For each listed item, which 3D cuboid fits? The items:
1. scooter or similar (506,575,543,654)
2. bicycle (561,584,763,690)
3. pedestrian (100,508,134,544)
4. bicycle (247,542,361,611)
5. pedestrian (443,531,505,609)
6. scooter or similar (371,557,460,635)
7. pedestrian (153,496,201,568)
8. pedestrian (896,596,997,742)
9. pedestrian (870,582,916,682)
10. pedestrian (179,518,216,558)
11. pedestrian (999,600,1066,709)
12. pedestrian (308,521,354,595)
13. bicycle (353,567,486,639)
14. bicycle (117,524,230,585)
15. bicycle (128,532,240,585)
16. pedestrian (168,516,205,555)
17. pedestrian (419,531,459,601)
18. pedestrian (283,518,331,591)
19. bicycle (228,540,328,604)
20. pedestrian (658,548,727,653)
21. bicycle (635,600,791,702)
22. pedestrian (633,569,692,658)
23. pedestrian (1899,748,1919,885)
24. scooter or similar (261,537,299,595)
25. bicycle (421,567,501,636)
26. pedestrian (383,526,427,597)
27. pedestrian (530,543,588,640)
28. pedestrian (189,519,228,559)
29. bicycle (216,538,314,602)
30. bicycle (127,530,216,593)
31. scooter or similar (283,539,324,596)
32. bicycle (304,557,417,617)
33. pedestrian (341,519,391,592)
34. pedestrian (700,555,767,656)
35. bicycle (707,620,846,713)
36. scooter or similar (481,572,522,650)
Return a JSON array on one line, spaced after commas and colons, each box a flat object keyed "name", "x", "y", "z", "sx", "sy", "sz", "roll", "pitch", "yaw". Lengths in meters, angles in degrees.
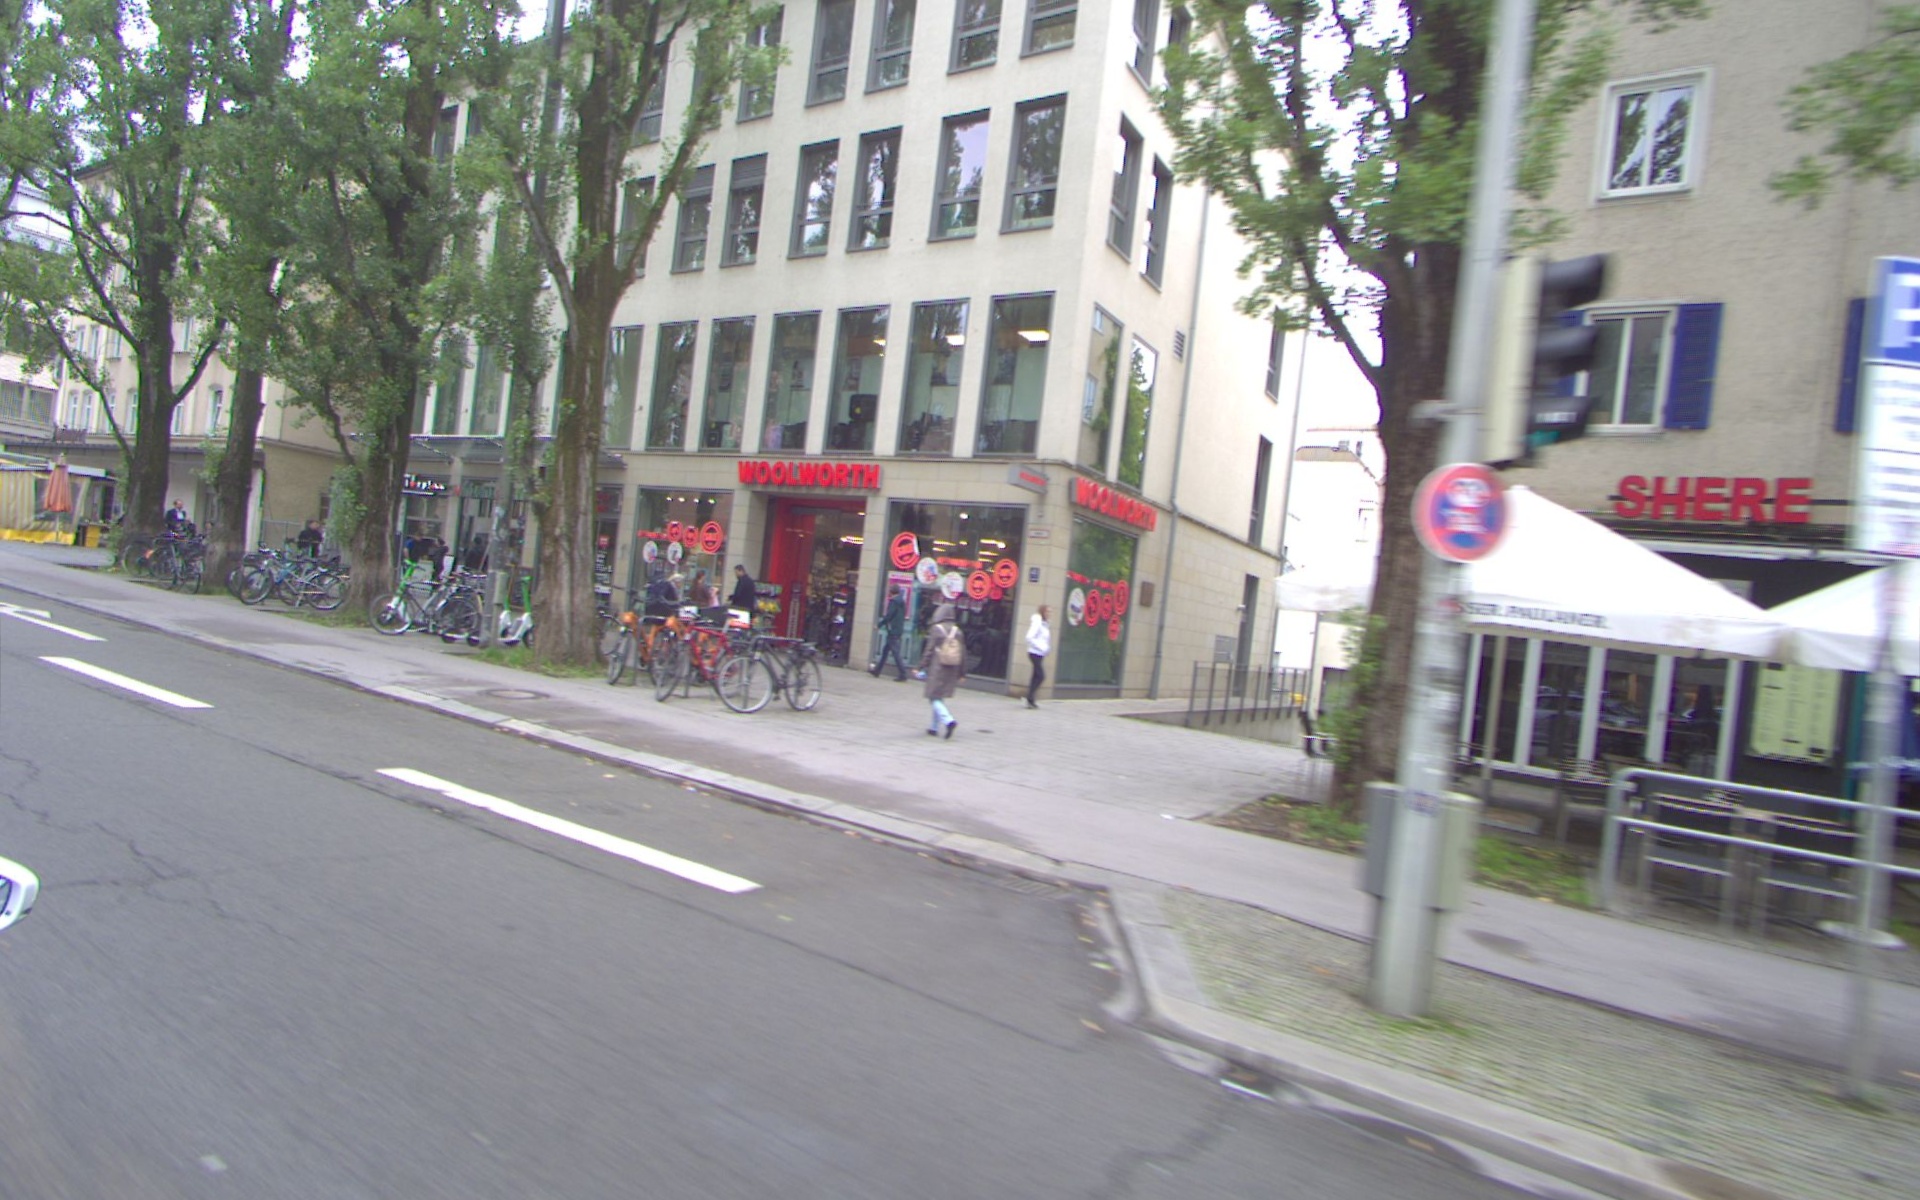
[{"name": "scooter or similar", "x": -6.979, "y": 0.222, "z": 16.156, "sx": 0.303, "sy": 1.183, "sz": 1.240, "roll": 7, "pitch": -1, "yaw": -19}, {"name": "bicycle", "x": -4.014, "y": 0.554, "z": 13.813, "sx": 0.949, "sy": 1.230, "sz": 2.574, "roll": 7, "pitch": 0, "yaw": 32}, {"name": "pedestrian", "x": -33.312, "y": -2.932, "z": 39.756, "sx": 0.688, "sy": 1.280, "sz": 0.776, "roll": 7, "pitch": 0, "yaw": 33}, {"name": "bicycle", "x": -12.629, "y": -0.425, "z": 19.440, "sx": 0.334, "sy": 1.149, "sz": 1.870, "roll": 7, "pitch": 0, "yaw": 24}, {"name": "pedestrian", "x": -12.390, "y": -0.746, "z": 25.673, "sx": 0.962, "sy": 1.837, "sz": 0.813, "roll": 7, "pitch": 1, "yaw": 11}, {"name": "scooter or similar", "x": -9.358, "y": -0.065, "z": 17.317, "sx": 1.230, "sy": 1.183, "sz": 0.400, "roll": 7, "pitch": -1, "yaw": -29}, {"name": "pedestrian", "x": -21.737, "y": -1.897, "z": 27.925, "sx": 0.891, "sy": 1.874, "sz": 0.657, "roll": 7, "pitch": 1, "yaw": 34}, {"name": "pedestrian", "x": -0.164, "y": 0.810, "z": 12.021, "sx": 0.781, "sy": 1.610, "sz": 0.709, "roll": 7, "pitch": 2, "yaw": 37}, {"name": "pedestrian", "x": -1.267, "y": 0.606, "z": 18.954, "sx": 0.630, "sy": 1.789, "sz": 0.547, "roll": 7, "pitch": 0, "yaw": -7}, {"name": "pedestrian", "x": -26.974, "y": -2.202, "z": 35.592, "sx": 0.688, "sy": 1.280, "sz": 0.776, "roll": 7, "pitch": 0, "yaw": 33}, {"name": "pedestrian", "x": 1.187, "y": 0.897, "z": 16.433, "sx": 0.680, "sy": 1.684, "sz": 0.667, "roll": 7, "pitch": 0, "yaw": 31}, {"name": "pedestrian", "x": -16.542, "y": -1.106, "z": 26.462, "sx": 0.680, "sy": 1.842, "sz": 0.622, "roll": 7, "pitch": 1, "yaw": 31}, {"name": "bicycle", "x": -8.816, "y": 0.068, "z": 16.483, "sx": 0.387, "sy": 1.022, "sz": 1.836, "roll": 7, "pitch": 1, "yaw": 41}, {"name": "bicycle", "x": -17.549, "y": -0.998, "z": 22.515, "sx": 0.281, "sy": 1.095, "sz": 2.006, "roll": 7, "pitch": -2, "yaw": 24}, {"name": "bicycle", "x": -17.217, "y": -0.905, "z": 22.379, "sx": 0.281, "sy": 0.956, "sz": 2.004, "roll": 7, "pitch": 0, "yaw": 24}, {"name": "pedestrian", "x": -27.920, "y": -2.332, "z": 36.317, "sx": 0.688, "sy": 1.280, "sz": 0.776, "roll": 7, "pitch": 0, "yaw": 33}, {"name": "pedestrian", "x": -14.195, "y": -0.922, "z": 27.406, "sx": 0.663, "sy": 1.806, "sz": 0.565, "roll": 7, "pitch": 1, "yaw": 33}, {"name": "pedestrian", "x": -16.722, "y": -1.161, "z": 25.779, "sx": 0.680, "sy": 1.731, "sz": 0.657, "roll": 7, "pitch": 1, "yaw": 31}, {"name": "bicycle", "x": -13.654, "y": -0.538, "z": 20.195, "sx": 0.389, "sy": 1.120, "sz": 1.666, "roll": 7, "pitch": 0, "yaw": 20}, {"name": "pedestrian", "x": -5.145, "y": 0.010, "z": 19.361, "sx": 0.808, "sy": 1.893, "sz": 0.752, "roll": 7, "pitch": 1, "yaw": 35}, {"name": "bicycle", "x": -3.103, "y": 0.678, "z": 12.854, "sx": 0.675, "sy": 1.140, "sz": 1.900, "roll": 7, "pitch": 0, "yaw": 32}, {"name": "pedestrian", "x": -5.459, "y": 0.252, "z": 18.484, "sx": 0.685, "sy": 1.538, "sz": 0.565, "roll": 7, "pitch": 0, "yaw": 35}, {"name": "pedestrian", "x": 9.396, "y": 2.057, "z": 9.171, "sx": 1.007, "sy": 1.231, "sz": 0.773, "roll": 7, "pitch": 0, "yaw": 36}, {"name": "scooter or similar", "x": -16.334, "y": -0.829, "z": 24.157, "sx": 1.019, "sy": 1.289, "sz": 0.247, "roll": 7, "pitch": 0, "yaw": 33}, {"name": "bicycle", "x": -9.306, "y": 0.011, "z": 18.731, "sx": 1.974, "sy": 1.076, "sz": 0.391, "roll": 7, "pitch": 2, "yaw": 36}, {"name": "pedestrian", "x": -14.951, "y": -1.032, "z": 27.093, "sx": 0.663, "sy": 1.806, "sz": 0.657, "roll": 7, "pitch": 1, "yaw": 33}, {"name": "pedestrian", "x": -7.661, "y": -0.160, "z": 19.222, "sx": 0.685, "sy": 1.763, "sz": 0.565, "roll": 7, "pitch": 0, "yaw": 35}, {"name": "pedestrian", "x": -26.272, "y": -2.131, "z": 35.172, "sx": 0.688, "sy": 1.280, "sz": 0.776, "roll": 7, "pitch": 0, "yaw": 33}, {"name": "bicycle", "x": -14.001, "y": -0.574, "z": 20.312, "sx": 0.281, "sy": 1.131, "sz": 1.678, "roll": 7, "pitch": 0, "yaw": 20}, {"name": "bicycle", "x": -16.048, "y": -0.788, "z": 20.466, "sx": 1.968, "sy": 1.074, "sz": 0.434, "roll": 7, "pitch": 1, "yaw": 22}, {"name": "scooter or similar", "x": -16.048, "y": -0.801, "z": 24.574, "sx": 1.019, "sy": 1.289, "sz": 0.330, "roll": 7, "pitch": 0, "yaw": 32}, {"name": "bicycle", "x": -11.879, "y": -0.234, "z": 20.016, "sx": 0.386, "sy": 0.999, "sz": 2.005, "roll": 7, "pitch": -1, "yaw": 24}, {"name": "pedestrian", "x": -16.045, "y": -1.192, "z": 27.178, "sx": 0.744, "sy": 1.836, "sz": 0.743, "roll": 7, "pitch": 0, "yaw": 36}, {"name": "pedestrian", "x": -4.516, "y": 0.117, "z": 20.095, "sx": 0.808, "sy": 1.876, "sz": 0.752, "roll": 7, "pitch": 0, "yaw": 34}, {"name": "bicycle", "x": -2.240, "y": 0.838, "z": 12.514, "sx": 0.495, "sy": 1.022, "sz": 1.841, "roll": 7, "pitch": 0, "yaw": 32}, {"name": "scooter or similar", "x": -7.350, "y": 0.173, "z": 16.159, "sx": 0.282, "sy": 1.183, "sz": 1.241, "roll": 7, "pitch": -1, "yaw": -16}]
